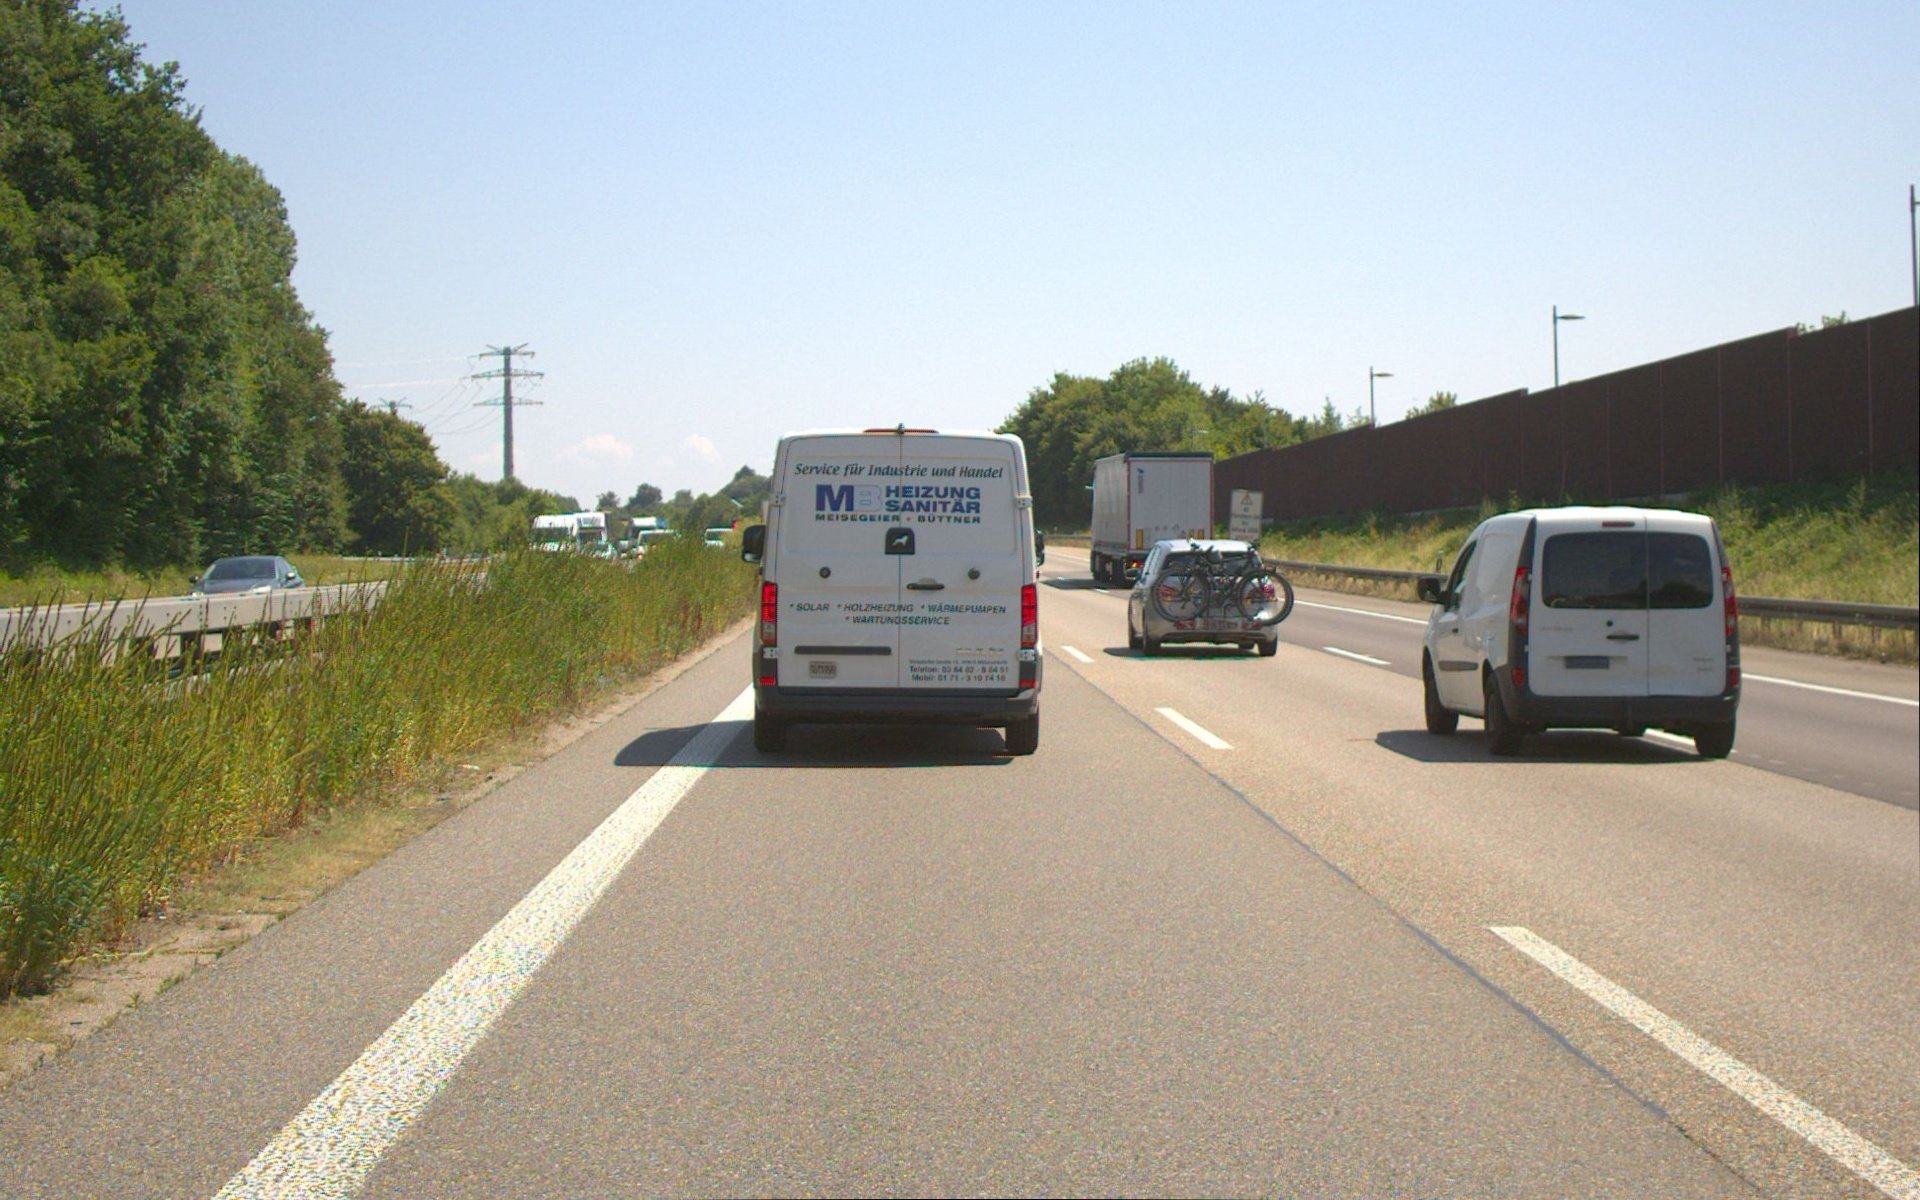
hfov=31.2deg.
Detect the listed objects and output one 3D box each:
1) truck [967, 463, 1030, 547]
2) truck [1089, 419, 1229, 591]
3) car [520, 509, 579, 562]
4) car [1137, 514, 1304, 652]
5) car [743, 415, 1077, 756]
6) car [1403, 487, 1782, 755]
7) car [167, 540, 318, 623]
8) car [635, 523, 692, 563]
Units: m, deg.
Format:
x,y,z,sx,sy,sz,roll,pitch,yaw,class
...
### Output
x,y,z,sx,sy,sz,roll,pitch,yaw,class
2.522,-5.966,218.567,3.788,4.983,12.518,1,0,1,truck
6.093,-2.833,107.251,3.788,4.983,12.518,1,0,1,truck
-18.913,-2.973,158.679,2.124,2.331,5.085,-2,1,-1,car
3.434,-0.233,45.999,1.976,1.727,4.088,-1,0,1,car
-0.502,-0.115,25.593,2.181,2.246,5.364,1,0,-4,car
4.658,0.134,25.938,1.950,1.831,4.178,-1,0,-2,car
-14.093,-0.392,67.786,1.993,1.514,4.722,-2,1,-1,car
-12.258,-2.363,142.218,1.993,1.582,4.426,-2,1,-1,car
